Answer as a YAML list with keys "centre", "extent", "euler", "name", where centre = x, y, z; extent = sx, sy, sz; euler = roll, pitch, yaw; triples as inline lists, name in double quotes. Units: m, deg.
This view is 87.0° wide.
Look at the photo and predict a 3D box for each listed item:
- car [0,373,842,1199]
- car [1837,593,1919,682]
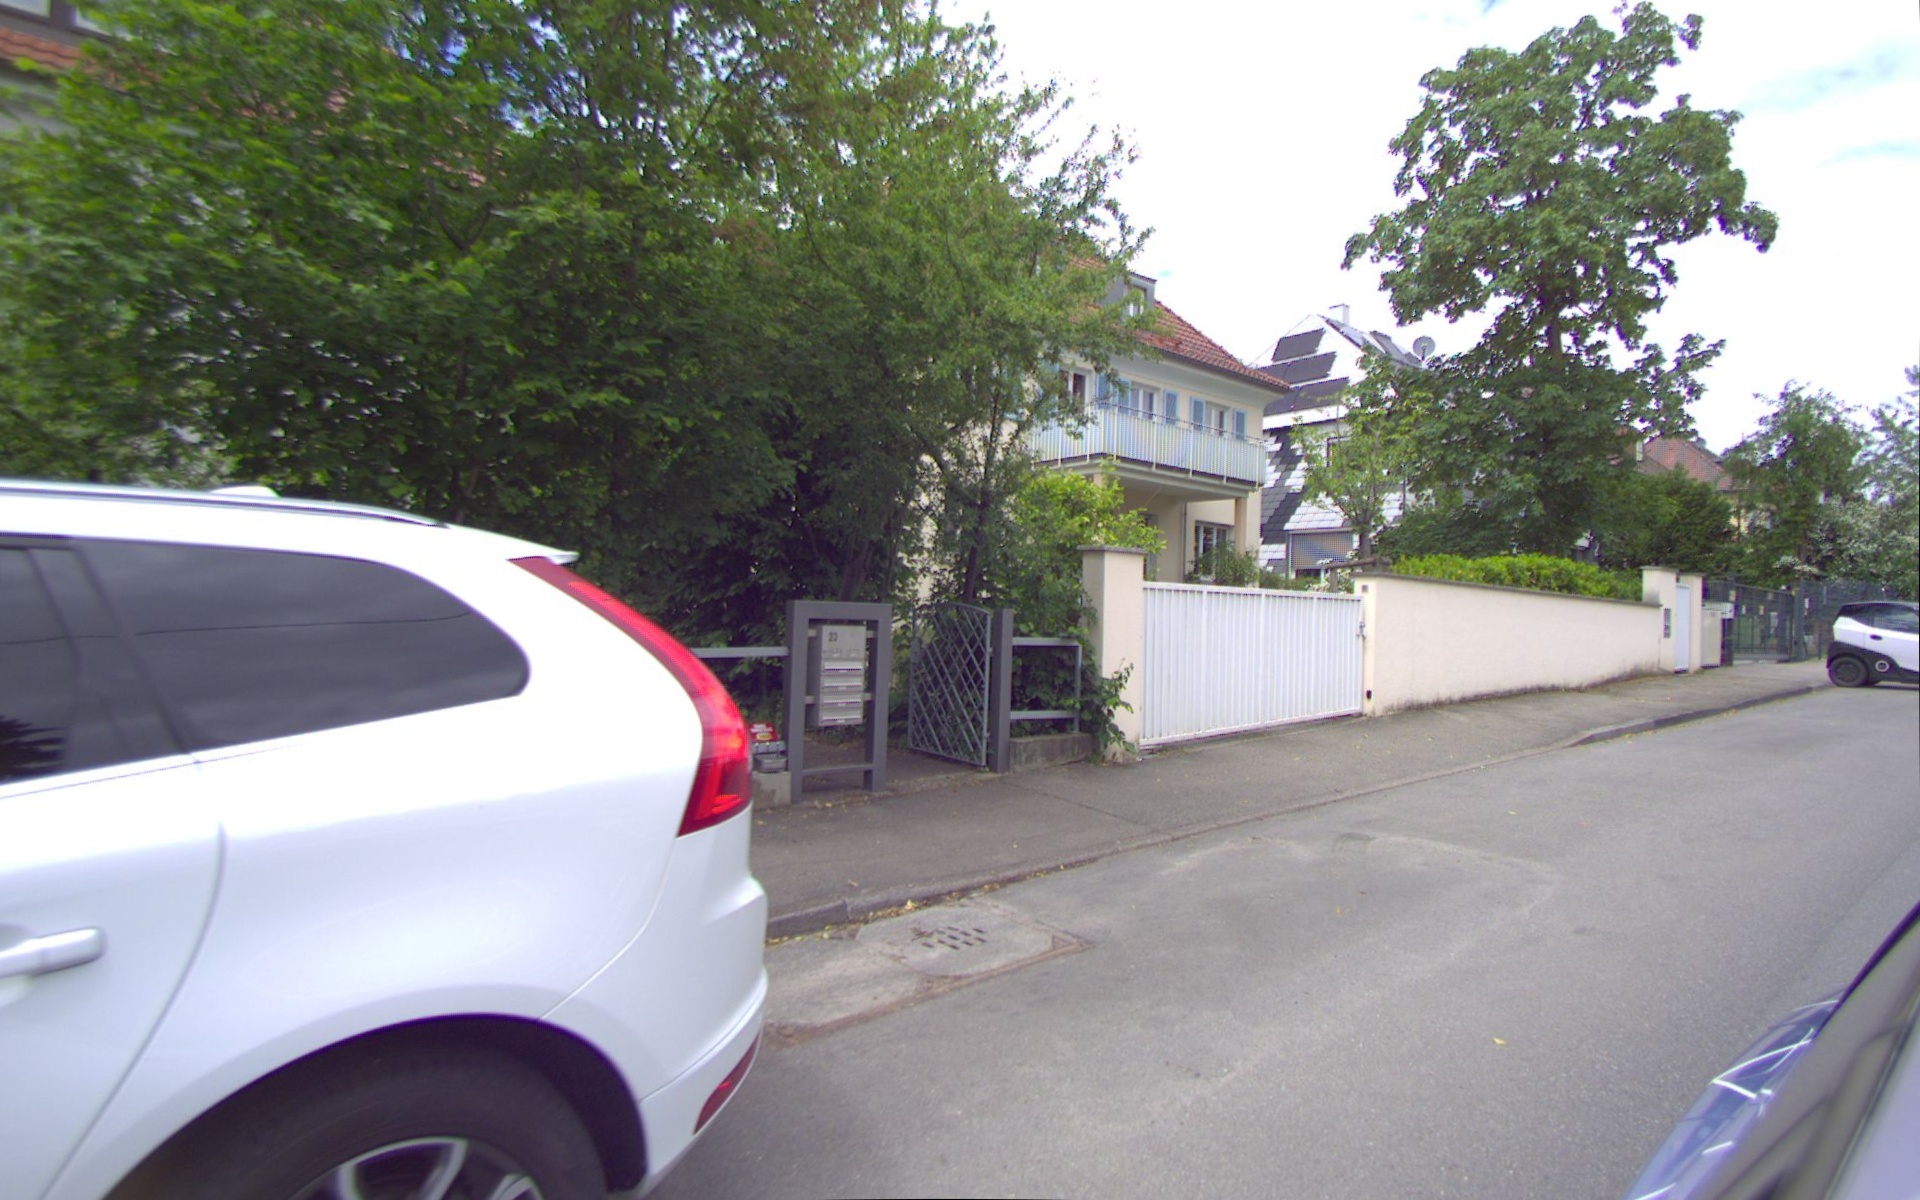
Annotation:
- centre: [-2.461, 0.575, 1.397]
  extent: [4.274, 1.706, 1.868]
  euler: [0, 0, -41]
  name: "car"
- centre: [17.206, 0.660, 17.899]
  extent: [1.292, 1.543, 2.296]
  euler: [1, 0, -33]
  name: "car"
